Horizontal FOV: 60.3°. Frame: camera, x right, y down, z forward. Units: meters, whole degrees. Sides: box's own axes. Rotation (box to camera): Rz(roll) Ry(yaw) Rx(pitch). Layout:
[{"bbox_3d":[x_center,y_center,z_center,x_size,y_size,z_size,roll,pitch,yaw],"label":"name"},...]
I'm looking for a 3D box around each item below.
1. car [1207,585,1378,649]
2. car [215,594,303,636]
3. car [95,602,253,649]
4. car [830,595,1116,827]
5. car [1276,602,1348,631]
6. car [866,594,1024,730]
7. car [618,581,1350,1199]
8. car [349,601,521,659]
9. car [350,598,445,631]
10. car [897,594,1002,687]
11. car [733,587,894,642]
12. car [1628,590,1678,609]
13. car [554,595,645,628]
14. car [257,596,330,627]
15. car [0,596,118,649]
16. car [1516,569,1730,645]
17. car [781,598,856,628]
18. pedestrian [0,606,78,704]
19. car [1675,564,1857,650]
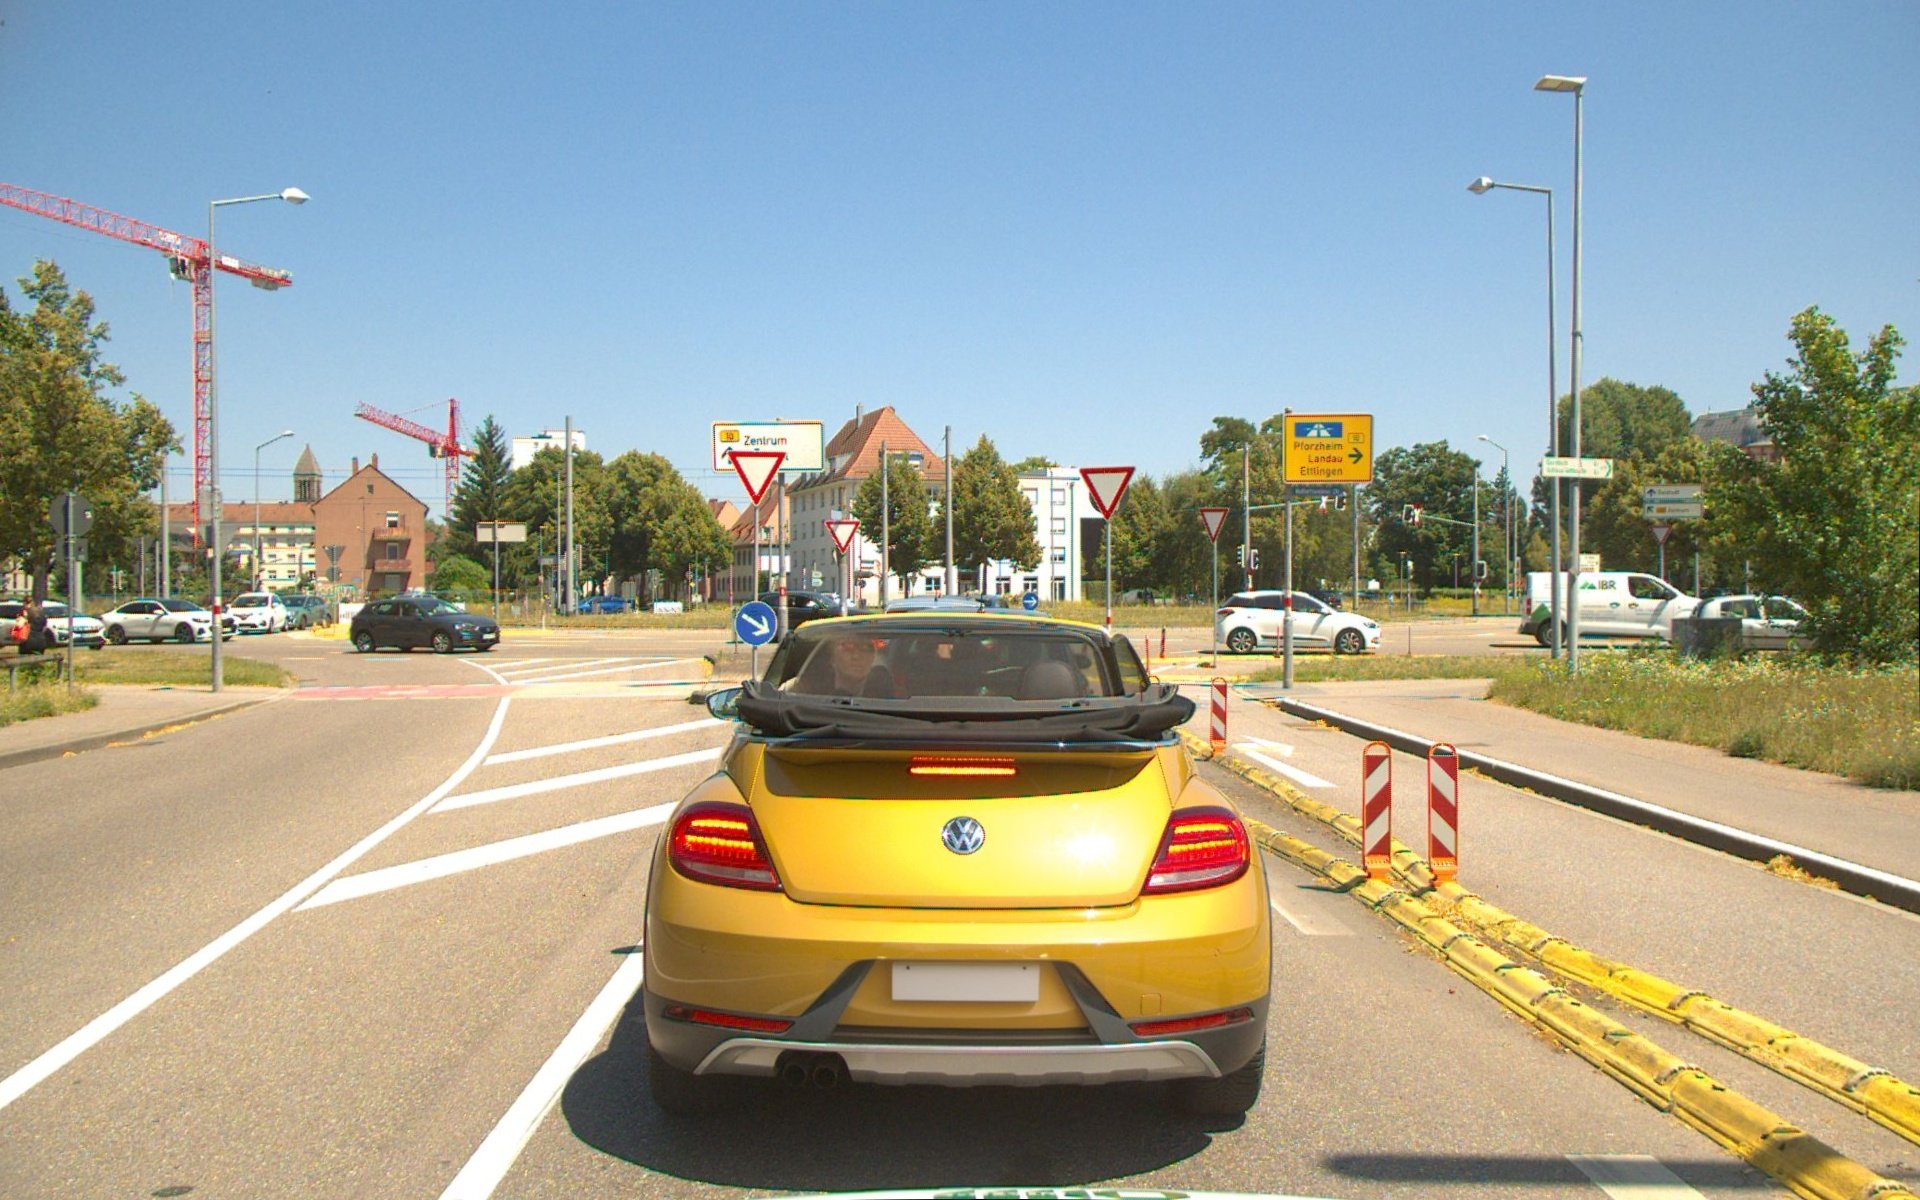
[{"bbox_3d":[7.940,0.400,39.729,3.922,1.470,1.634,0,0,8],"label":"car"},{"bbox_3d":[-26.993,0.570,63.816,1.720,1.576,3.999,0,0,-1],"label":"car"},{"bbox_3d":[-27.060,0.868,56.960,4.886,1.536,2.001,0,0,18],"label":"car"},{"bbox_3d":[0.060,0.708,12.532,1.810,1.467,3.999,0,0,-1],"label":"car"},{"bbox_3d":[21.784,1.007,102.423,1.928,1.701,4.147,-1,0,-36],"label":"car"},{"bbox_3d":[-0.189,0.675,19.917,1.701,1.467,3.999,0,0,-1],"label":"car"},{"bbox_3d":[0.028,0.685,5.781,1.717,1.447,3.776,0,0,-1],"label":"car"},{"bbox_3d":[-14.083,0.786,44.382,4.120,1.467,1.999,0,0,24],"label":"car"},{"bbox_3d":[-26.810,0.681,78.998,1.676,1.526,4.210,0,0,32],"label":"car"},{"bbox_3d":[-0.194,0.659,28.749,1.701,1.503,3.999,0,0,-1],"label":"car"},{"bbox_3d":[-4.076,0.385,46.361,4.098,1.467,2.002,0,0,9],"label":"car"},{"bbox_3d":[63.782,-0.063,152.296,3.923,1.744,1.991,0,0,-17],"label":"car"},{"bbox_3d":[-21.311,0.674,97.854,4.879,1.817,2.000,-1,0,-37],"label":"car"},{"bbox_3d":[-27.854,0.469,69.208,1.673,1.258,3.784,0,0,-3],"label":"car"},{"bbox_3d":[-29.067,0.690,52.479,4.487,1.593,1.997,0,0,28],"label":"car"},{"bbox_3d":[16.858,0.166,42.320,4.864,1.882,2.001,0,0,15],"label":"car"},{"bbox_3d":[-8.989,0.838,105.204,4.587,1.860,1.994,0,0,-12],"label":"car"},{"bbox_3d":[-15.311,0.903,27.472,0.856,1.590,0.810,0,0,25],"label":"pedestrian"},{"bbox_3d":[18.285,0.137,37.686,3.591,1.882,1.633,0,0,22],"label":"car"}]
